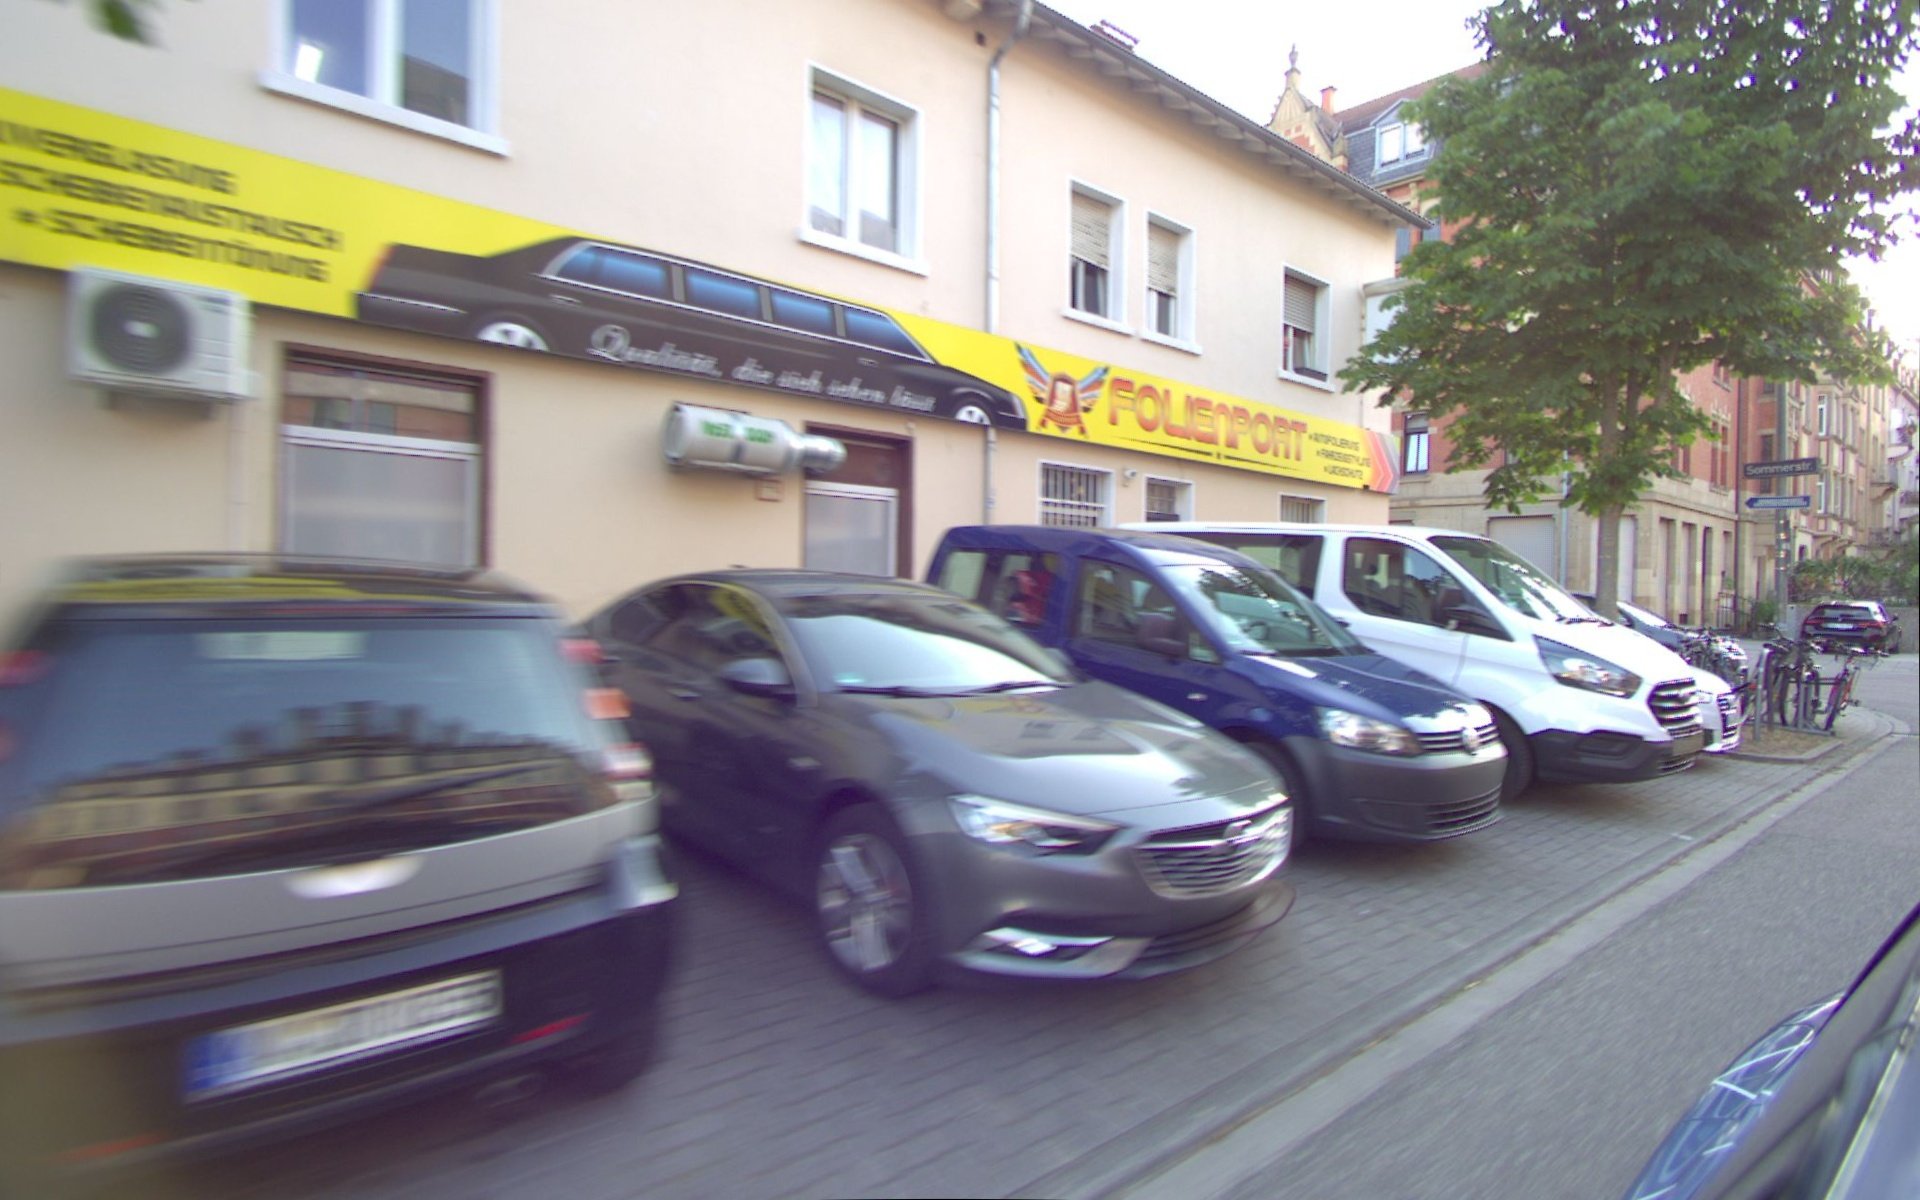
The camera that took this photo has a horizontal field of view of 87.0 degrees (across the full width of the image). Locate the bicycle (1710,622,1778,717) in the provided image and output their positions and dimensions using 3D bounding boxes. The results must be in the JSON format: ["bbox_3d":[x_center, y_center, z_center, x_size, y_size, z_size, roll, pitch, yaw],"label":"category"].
[{"bbox_3d":[9.439,0.800,12.161,1.796,1.036,0.357,0,0,-43],"label":"bicycle"}]

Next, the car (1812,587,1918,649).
[{"bbox_3d":[24.635,0.447,27.507,3.932,1.543,1.797,0,1,-43],"label":"car"}]

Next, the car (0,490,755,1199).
[{"bbox_3d":[-2.417,0.465,3.399,1.652,1.515,3.792,0,3,-42],"label":"car"}]

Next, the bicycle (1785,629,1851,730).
[{"bbox_3d":[9.921,0.878,11.680,1.938,1.036,0.357,0,0,-43],"label":"bicycle"}]

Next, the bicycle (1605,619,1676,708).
[{"bbox_3d":[8.712,0.782,12.930,1.755,1.036,0.357,0,0,-43],"label":"bicycle"}]

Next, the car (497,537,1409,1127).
[{"bbox_3d":[-0.559,0.541,5.050,1.965,1.515,4.731,1,1,-40],"label":"car"}]

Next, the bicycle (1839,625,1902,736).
[{"bbox_3d":[10.201,0.855,11.323,1.938,1.113,0.357,0,0,-43],"label":"bicycle"}]

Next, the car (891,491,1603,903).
[{"bbox_3d":[1.570,0.332,6.917,1.963,1.881,4.305,1,3,-38],"label":"car"}]

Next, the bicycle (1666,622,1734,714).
[{"bbox_3d":[9.147,0.804,12.490,1.755,1.036,0.357,0,0,-43],"label":"bicycle"}]

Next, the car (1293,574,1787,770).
[{"bbox_3d":[5.646,0.572,10.265,1.692,1.586,4.039,0,0,-41],"label":"car"}]

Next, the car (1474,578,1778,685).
[{"bbox_3d":[11.397,0.463,17.560,1.770,1.509,4.001,2,2,-36],"label":"car"}]

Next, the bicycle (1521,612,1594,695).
[{"bbox_3d":[8.057,0.688,13.621,1.755,1.036,0.357,0,0,-43],"label":"bicycle"}]

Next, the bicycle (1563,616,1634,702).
[{"bbox_3d":[8.384,0.742,13.264,1.755,1.036,0.357,0,0,-43],"label":"bicycle"}]

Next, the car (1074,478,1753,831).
[{"bbox_3d":[3.465,0.277,8.742,2.111,2.127,4.974,-1,1,-37],"label":"car"}]

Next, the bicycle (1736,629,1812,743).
[{"bbox_3d":[8.347,0.834,10.357,1.755,1.036,0.357,0,0,-43],"label":"bicycle"}]

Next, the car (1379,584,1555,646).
[{"bbox_3d":[14.925,0.394,29.957,1.750,1.687,4.338,0,1,-42],"label":"car"}]
